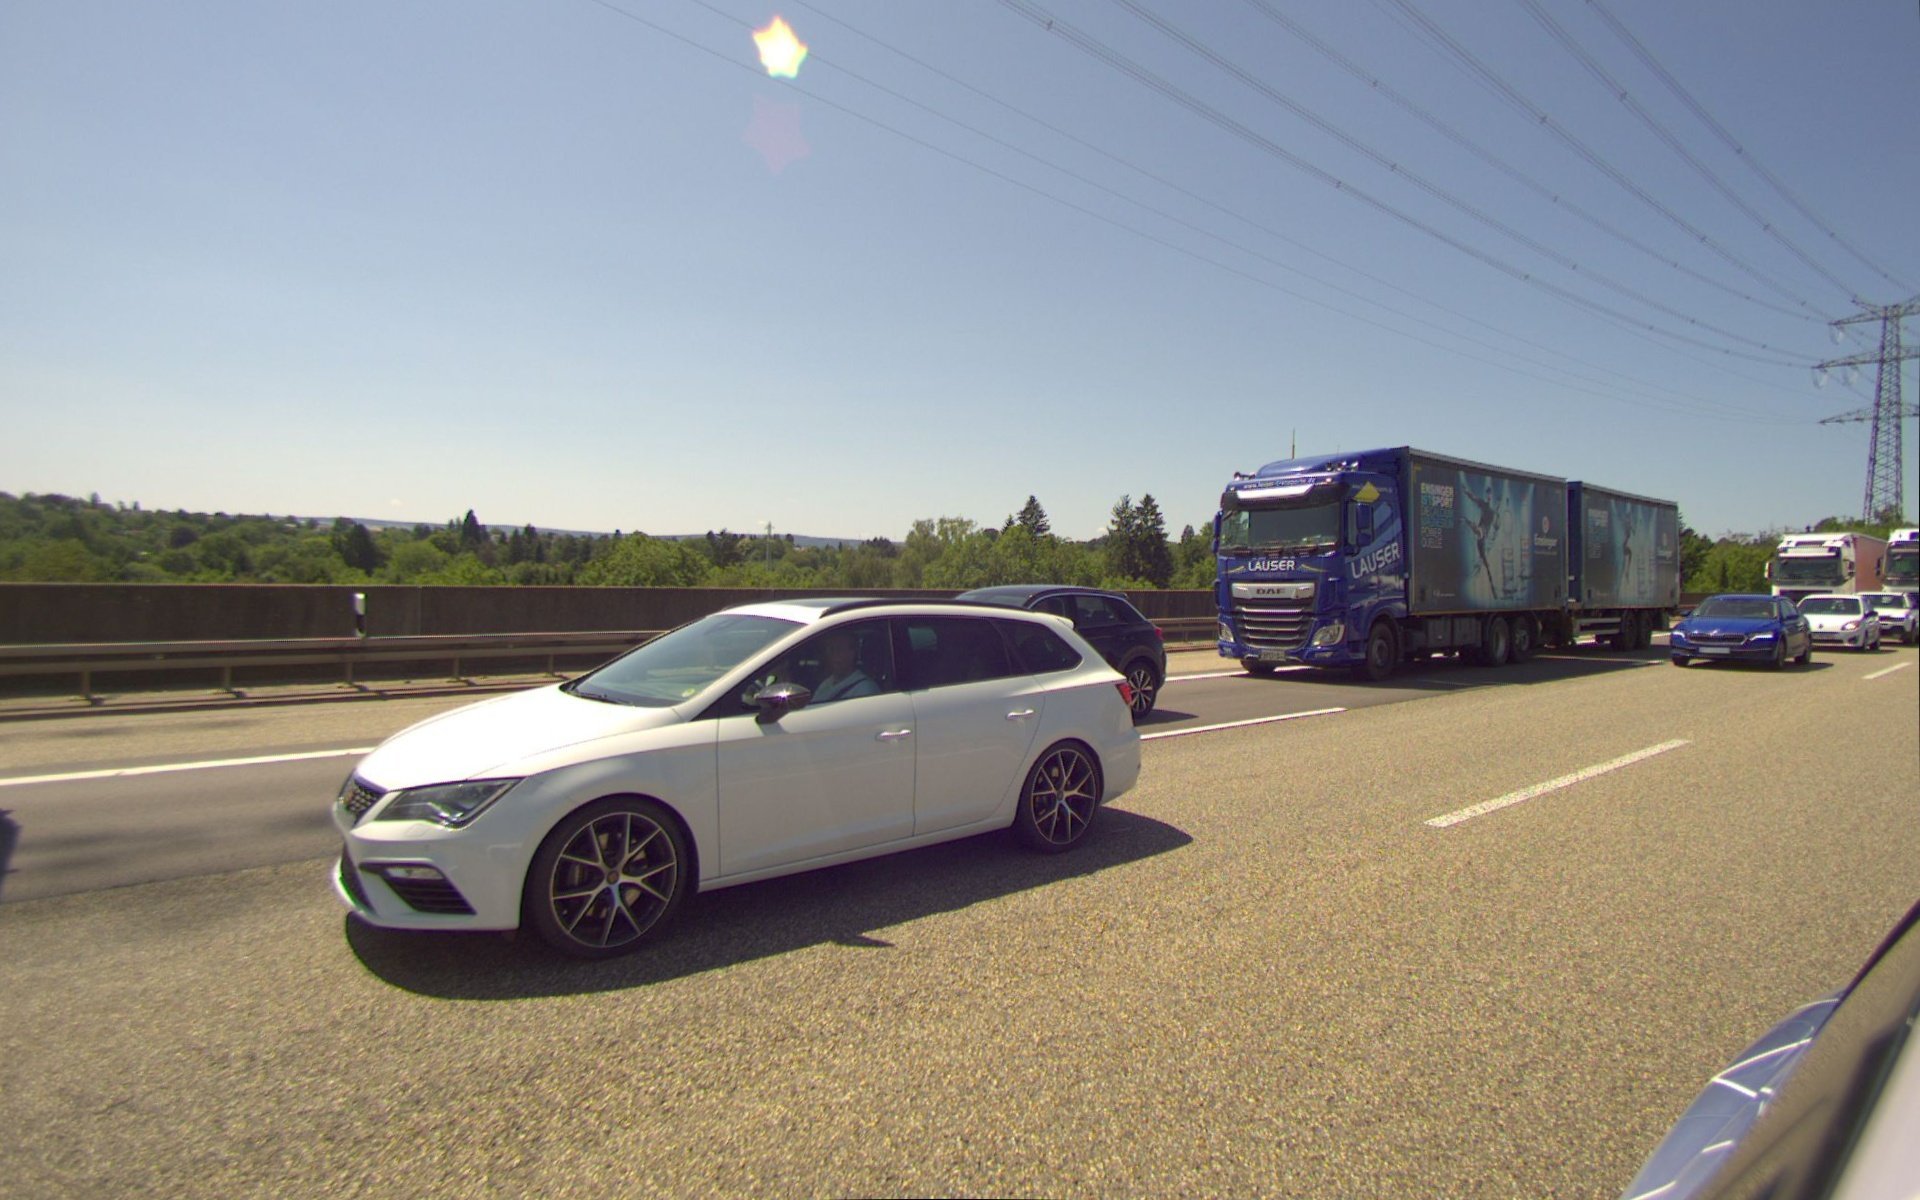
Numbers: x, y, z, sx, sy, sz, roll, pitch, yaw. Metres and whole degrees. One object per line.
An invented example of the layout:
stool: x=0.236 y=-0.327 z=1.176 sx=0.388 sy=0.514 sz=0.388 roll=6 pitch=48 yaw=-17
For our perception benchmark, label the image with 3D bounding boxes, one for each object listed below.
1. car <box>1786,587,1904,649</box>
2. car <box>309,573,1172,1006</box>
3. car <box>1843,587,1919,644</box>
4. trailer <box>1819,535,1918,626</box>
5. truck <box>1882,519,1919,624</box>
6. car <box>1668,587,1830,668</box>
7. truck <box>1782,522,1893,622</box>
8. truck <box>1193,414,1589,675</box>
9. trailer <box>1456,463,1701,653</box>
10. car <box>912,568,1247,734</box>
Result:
car: x=23.068 y=0.417 z=26.343 sx=4.071 sy=1.470 sz=1.712 roll=-1 pitch=1 yaw=-40
car: x=-0.860 y=0.638 z=5.531 sx=4.352 sy=1.470 sz=1.711 roll=0 pitch=0 yaw=-41
car: x=27.211 y=0.391 z=29.414 sx=4.071 sy=1.528 sz=1.712 roll=-1 pitch=1 yaw=-40
trailer: x=45.133 y=-0.956 z=50.180 sx=8.928 sy=4.169 sz=2.606 roll=-1 pitch=1 yaw=-41
truck: x=38.764 y=-1.112 z=39.558 sx=8.117 sy=3.874 sz=2.848 roll=-1 pitch=1 yaw=-39
car: x=16.166 y=0.481 z=20.650 sx=4.483 sy=1.470 sz=1.712 roll=-1 pitch=1 yaw=-40
truck: x=38.720 y=-1.197 z=44.568 sx=8.121 sy=4.037 sz=2.606 roll=-1 pitch=1 yaw=-41
truck: x=8.899 y=-0.928 z=19.901 sx=10.210 sy=3.999 sz=2.857 roll=-1 pitch=1 yaw=-40
trailer: x=16.076 y=-0.991 z=25.967 sx=8.486 sy=4.140 sz=2.833 roll=-1 pitch=1 yaw=-40
car: x=1.544 y=0.482 z=12.170 sx=4.045 sy=1.675 sz=1.712 roll=-1 pitch=1 yaw=-40
